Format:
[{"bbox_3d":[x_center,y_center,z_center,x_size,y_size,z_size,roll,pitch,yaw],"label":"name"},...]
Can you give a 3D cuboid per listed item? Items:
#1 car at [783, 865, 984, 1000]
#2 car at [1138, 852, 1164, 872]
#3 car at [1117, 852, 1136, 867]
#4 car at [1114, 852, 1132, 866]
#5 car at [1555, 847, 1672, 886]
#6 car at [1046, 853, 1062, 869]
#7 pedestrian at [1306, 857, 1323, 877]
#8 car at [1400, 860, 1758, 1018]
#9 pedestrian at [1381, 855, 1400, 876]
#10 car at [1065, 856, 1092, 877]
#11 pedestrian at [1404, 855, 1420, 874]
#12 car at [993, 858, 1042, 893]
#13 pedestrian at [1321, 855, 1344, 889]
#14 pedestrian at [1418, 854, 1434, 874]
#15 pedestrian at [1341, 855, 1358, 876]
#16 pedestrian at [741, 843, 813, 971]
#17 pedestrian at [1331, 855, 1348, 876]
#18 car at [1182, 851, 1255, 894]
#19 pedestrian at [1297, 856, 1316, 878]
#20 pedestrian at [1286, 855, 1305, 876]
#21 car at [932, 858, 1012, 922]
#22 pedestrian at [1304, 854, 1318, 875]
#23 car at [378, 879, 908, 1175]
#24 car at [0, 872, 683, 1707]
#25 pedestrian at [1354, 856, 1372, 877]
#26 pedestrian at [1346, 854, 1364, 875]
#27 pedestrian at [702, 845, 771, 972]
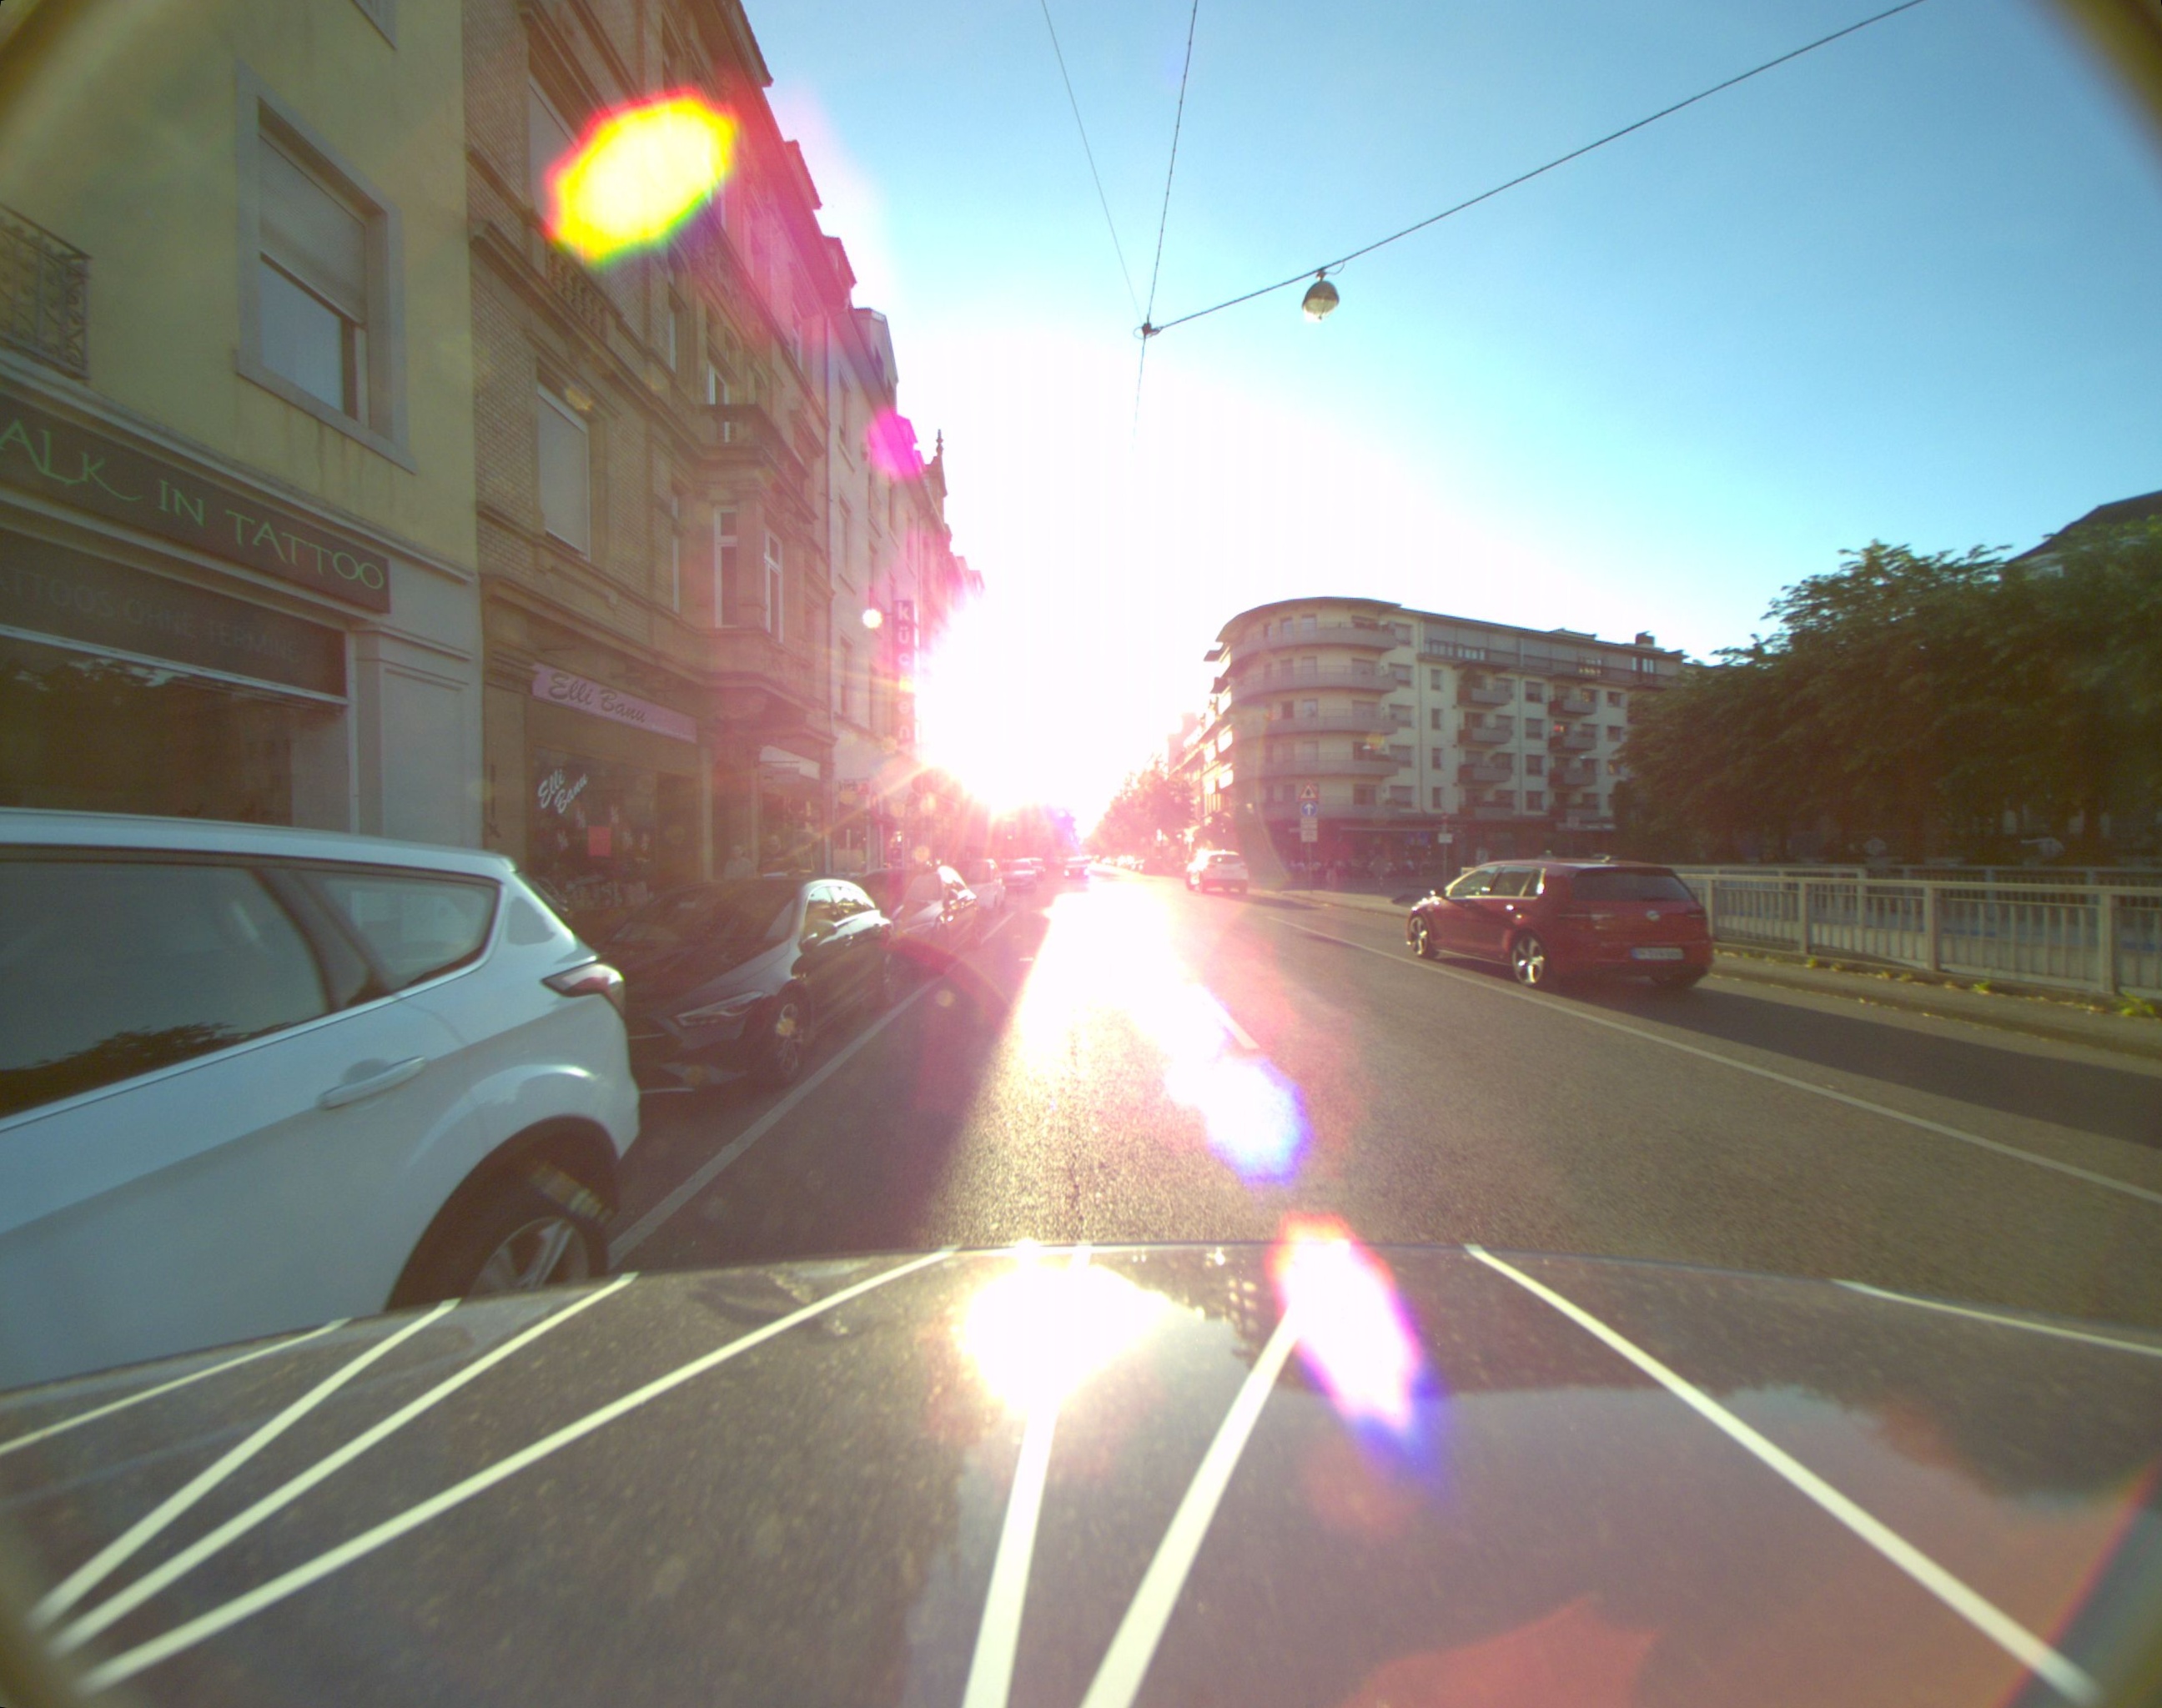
[{"bbox_3d":[-2.694,0.993,11.508,1.908,1.531,4.449,-1,0,-1],"label":"car"},{"bbox_3d":[6.779,0.777,74.182,1.999,1.805,3.999,-1,0,-1],"label":"car"},{"bbox_3d":[5.781,0.705,96.398,1.999,1.805,3.999,-1,0,-1],"label":"car"},{"bbox_3d":[5.544,0.703,101.169,1.999,1.805,3.999,-1,0,-1],"label":"car"},{"bbox_3d":[24.800,0.567,35.538,2.003,1.642,3.991,-2,0,-28],"label":"car"},{"bbox_3d":[-3.555,0.906,99.902,1.999,1.806,3.997,-1,2,-3],"label":"car"},{"bbox_3d":[14.703,0.808,47.819,0.887,1.185,0.733,-1,0,10],"label":"pedestrian"},{"bbox_3d":[5.703,0.849,9.412,1.790,1.458,3.956,0,1,-1],"label":"car"},{"bbox_3d":[20.320,0.753,49.909,0.733,1.314,0.887,-2,0,-15],"label":"pedestrian"},{"bbox_3d":[-0.245,0.930,56.403,1.908,1.438,4.449,-1,0,-1],"label":"car"},{"bbox_3d":[22.662,0.706,52.004,0.731,1.314,0.890,-1,1,39],"label":"pedestrian"},{"bbox_3d":[-2.788,0.934,34.283,1.908,1.421,4.449,-1,0,-1],"label":"car"},{"bbox_3d":[11.233,0.789,33.955,0.678,1.509,0.676,-2,0,-42],"label":"pedestrian"},{"bbox_3d":[23.336,0.697,51.373,0.731,1.314,0.890,-1,1,39],"label":"pedestrian"},{"bbox_3d":[17.282,0.731,48.992,0.732,1.314,0.888,-1,0,-2],"label":"pedestrian"},{"bbox_3d":[-4.940,0.841,12.395,0.763,2.002,0.851,-1,0,1],"label":"pedestrian"},{"bbox_3d":[16.596,0.716,48.831,0.732,1.314,0.889,-1,0,-1],"label":"pedestrian"},{"bbox_3d":[5.591,0.738,31.415,1.878,1.621,4.177,1,-1,-5],"label":"car"},{"bbox_3d":[13.909,0.776,46.860,0.890,1.314,0.731,-2,0,-31],"label":"pedestrian"},{"bbox_3d":[13.467,0.722,47.680,0.890,1.314,0.731,-2,0,-27],"label":"pedestrian"},{"bbox_3d":[-2.936,0.916,21.223,1.645,1.574,4.201,-1,0,-1],"label":"car"},{"bbox_3d":[14.791,0.682,48.826,0.677,1.314,0.611,-1,0,-1],"label":"pedestrian"},{"bbox_3d":[-2.892,1.020,6.386,1.908,1.421,4.449,-1,0,-1],"label":"car"},{"bbox_3d":[-2.438,0.921,0.552,1.877,1.664,4.430,-1,0,1],"label":"car"},{"bbox_3d":[18.197,0.812,49.066,0.733,1.314,0.888,-2,0,-13],"label":"pedestrian"},{"bbox_3d":[18.141,0.697,50.285,0.688,1.314,0.819,-2,0,-24],"label":"pedestrian"},{"bbox_3d":[-5.657,0.868,12.523,0.673,2.002,0.851,-1,0,1],"label":"pedestrian"}]
